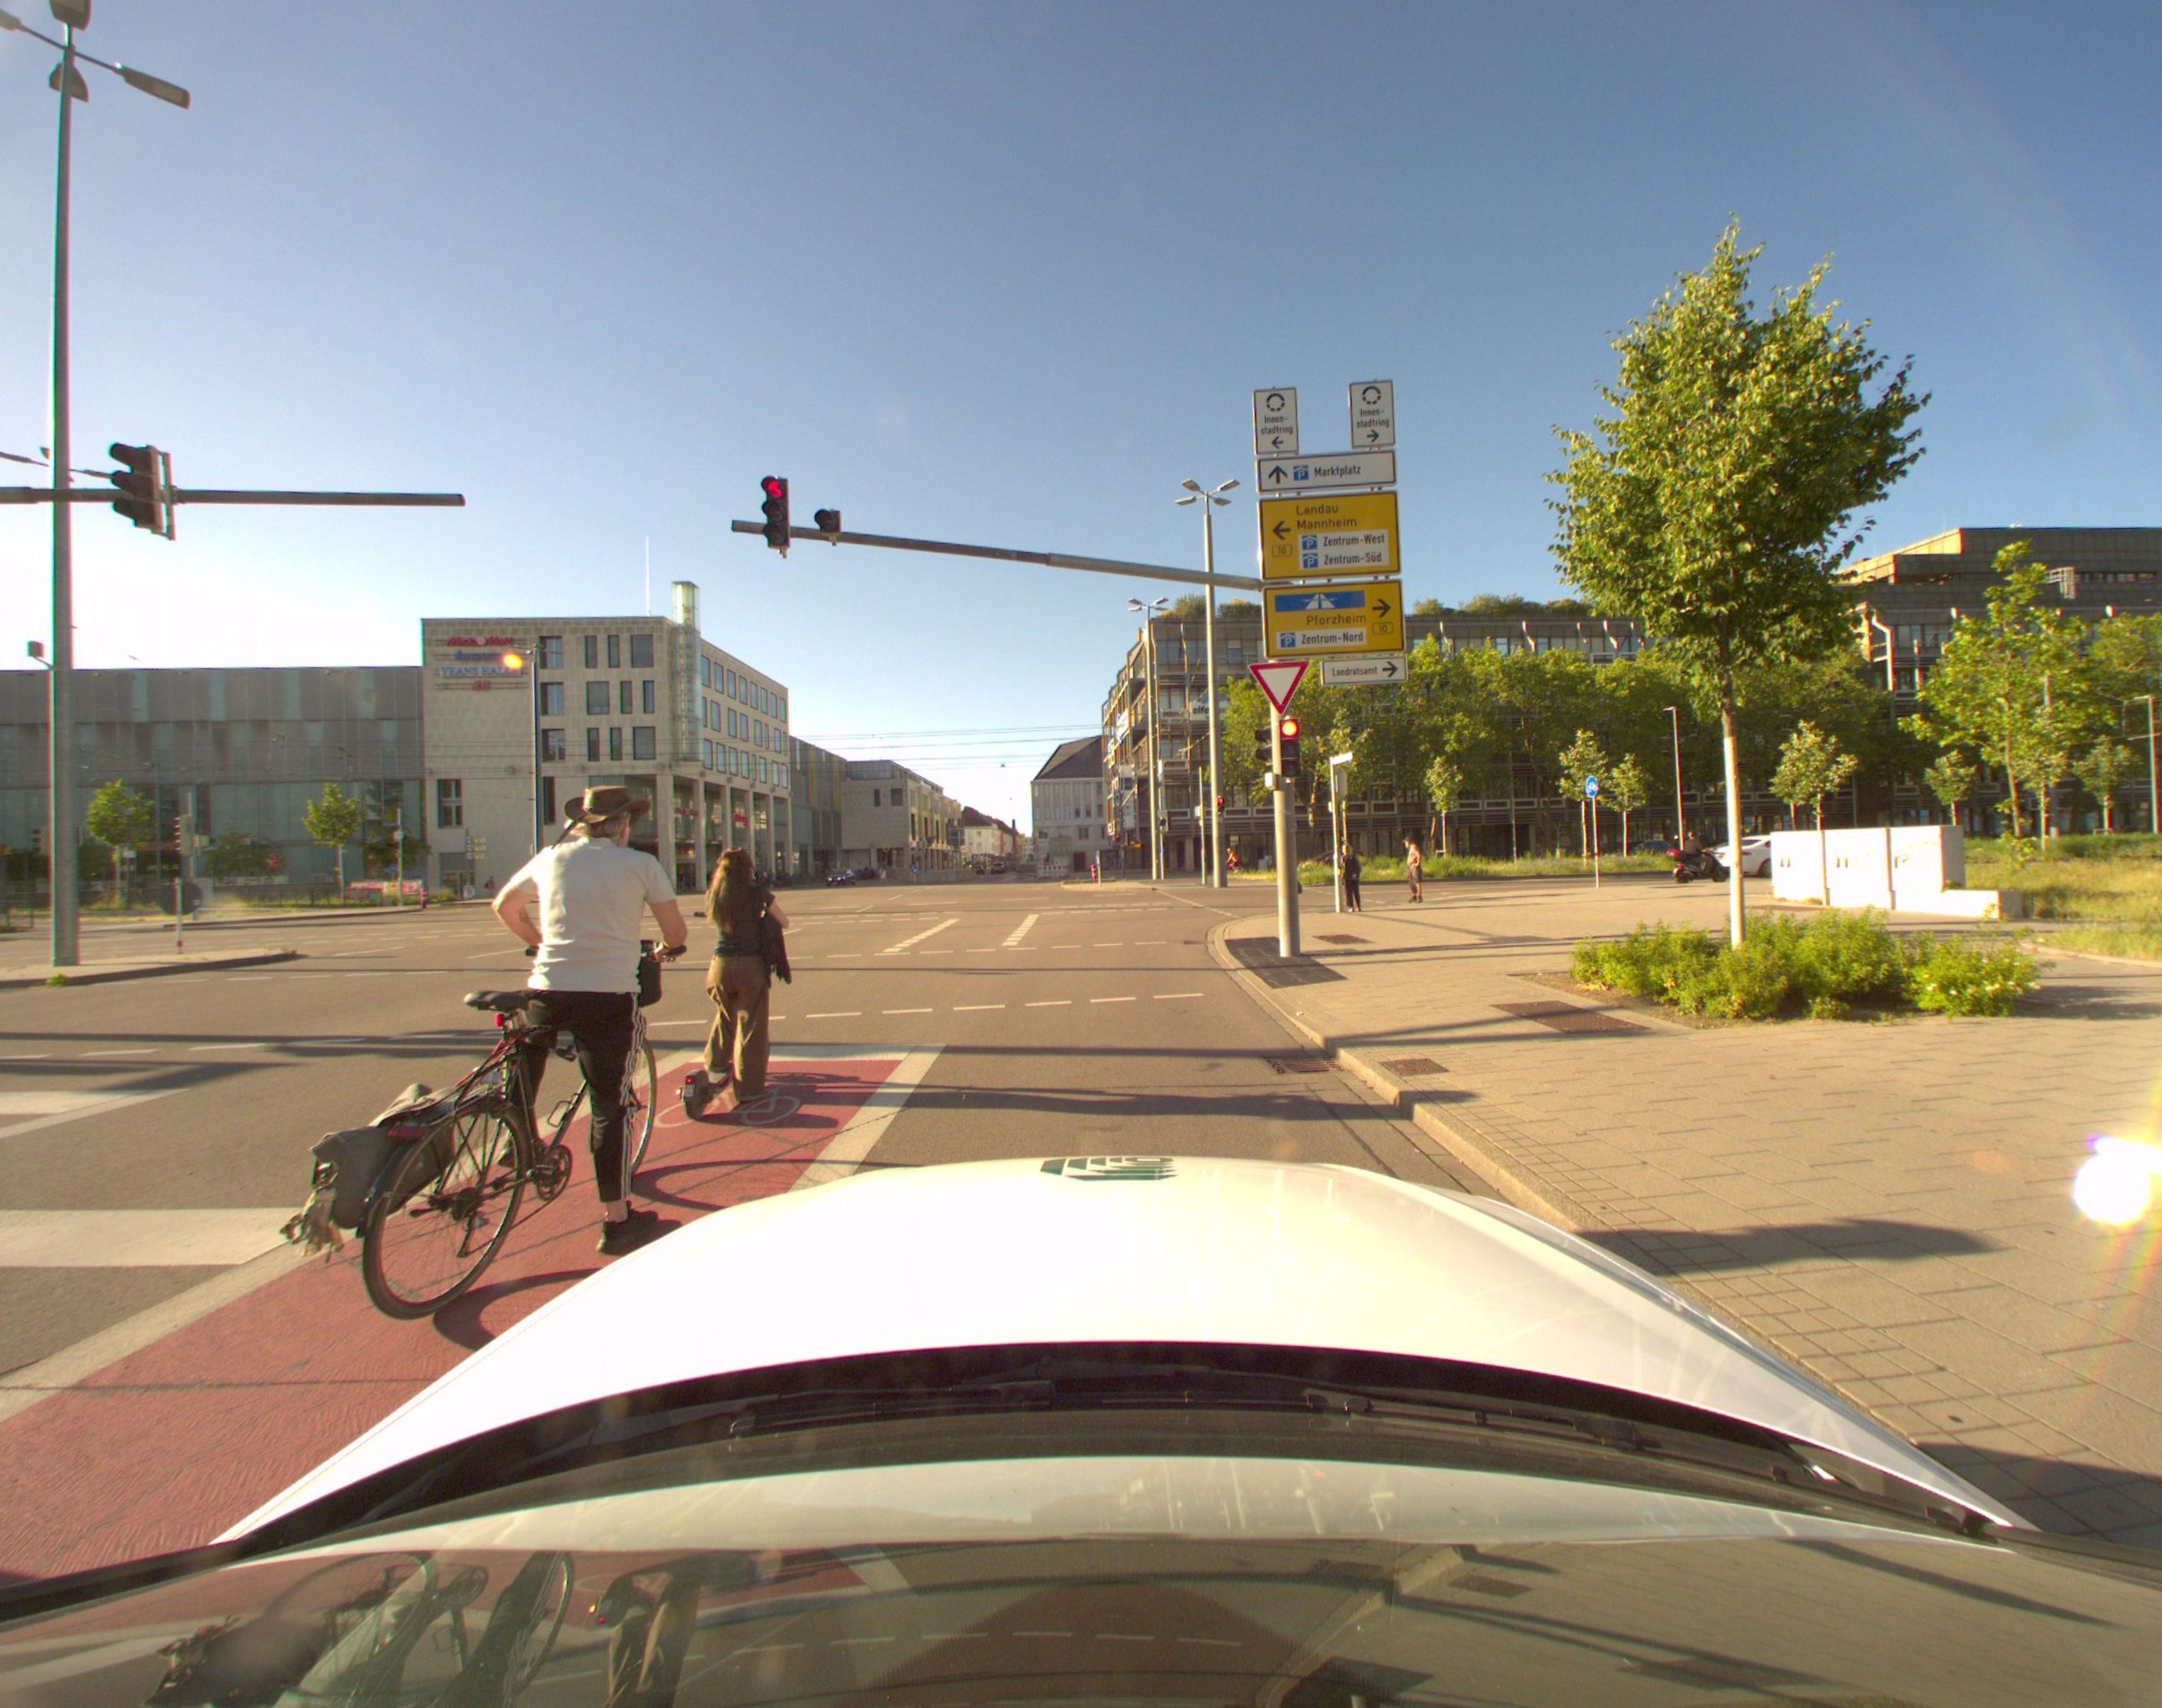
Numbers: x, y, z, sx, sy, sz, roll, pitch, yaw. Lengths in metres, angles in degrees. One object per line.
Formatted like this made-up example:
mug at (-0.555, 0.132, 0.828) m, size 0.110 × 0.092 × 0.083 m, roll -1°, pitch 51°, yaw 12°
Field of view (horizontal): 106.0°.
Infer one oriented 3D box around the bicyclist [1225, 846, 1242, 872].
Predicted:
bicyclist at (8.821, 0.308, 47.070) m, size 0.820 × 1.474 × 0.652 m, roll -2°, pitch 0°, yaw -2°

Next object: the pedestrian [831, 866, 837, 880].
pedestrian at (-30.818, 2.400, 101.667) m, size 0.465 × 1.729 × 0.632 m, roll -1°, pitch -1°, yaw 35°

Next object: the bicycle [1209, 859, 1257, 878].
bicycle at (8.765, 0.818, 47.056) m, size 2.561 × 0.975 × 1.047 m, roll -2°, pitch 0°, yaw -1°

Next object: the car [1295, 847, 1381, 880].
car at (14.567, 0.529, 46.218) m, size 4.287 × 1.684 × 1.820 m, roll -2°, pitch 0°, yaw -9°

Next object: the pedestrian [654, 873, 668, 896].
pedestrian at (-30.839, 2.248, 59.812) m, size 0.590 × 1.646 × 0.629 m, roll -2°, pitch 0°, yaw 1°

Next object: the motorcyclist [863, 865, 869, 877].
motorcyclist at (-26.166, 2.095, 99.150) m, size 0.627 × 1.406 × 0.661 m, roll 0°, pitch -1°, yaw -7°

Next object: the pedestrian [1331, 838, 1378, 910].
pedestrian at (6.365, 0.461, 19.004) m, size 0.763 × 1.614 × 0.874 m, roll -2°, pitch 0°, yaw 0°

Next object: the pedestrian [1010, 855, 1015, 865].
pedestrian at (-13.900, 1.190, 165.261) m, size 0.907 × 1.965 × 0.823 m, roll 0°, pitch -1°, yaw 1°

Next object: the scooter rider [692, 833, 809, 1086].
scooter rider at (-2.108, 0.645, 5.241) m, size 0.552 × 1.530 × 0.448 m, roll -2°, pitch 0°, yaw -7°

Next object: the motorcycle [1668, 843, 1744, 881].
motorcycle at (19.410, 0.246, 25.296) m, size 1.952 × 1.100 × 0.648 m, roll -2°, pitch 0°, yaw -6°

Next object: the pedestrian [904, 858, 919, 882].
pedestrian at (-13.145, 1.260, 63.284) m, size 0.935 × 1.864 × 0.541 m, roll -2°, pitch 0°, yaw 18°

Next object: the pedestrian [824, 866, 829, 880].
pedestrian at (-32.130, 2.419, 102.821) m, size 0.465 × 1.729 × 0.524 m, roll -1°, pitch -1°, yaw 40°

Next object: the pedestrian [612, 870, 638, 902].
pedestrian at (-25.121, 1.764, 44.910) m, size 0.821 × 1.675 × 1.004 m, roll -2°, pitch 0°, yaw -2°

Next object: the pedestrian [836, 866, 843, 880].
pedestrian at (-30.320, 2.401, 102.319) m, size 0.465 × 1.729 × 0.699 m, roll -1°, pitch -1°, yaw 40°

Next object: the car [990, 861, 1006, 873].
car at (-11.016, 1.750, 108.527) m, size 1.652 × 1.458 × 3.543 m, roll -2°, pitch 0°, yaw 2°

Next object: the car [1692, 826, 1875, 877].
car at (24.717, -0.098, 28.733) m, size 5.079 × 1.564 × 1.995 m, roll -2°, pitch 0°, yaw -8°

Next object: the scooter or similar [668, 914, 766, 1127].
scooter or similar at (-2.192, 0.957, 4.961) m, size 0.306 × 1.107 × 0.835 m, roll -2°, pitch 0°, yaw -9°

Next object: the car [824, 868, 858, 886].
car at (-20.723, 1.992, 70.480) m, size 1.670 × 1.357 × 4.021 m, roll -2°, pitch 0°, yaw 1°

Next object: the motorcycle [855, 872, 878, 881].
motorcycle at (-26.042, 2.729, 98.982) m, size 2.600 × 0.993 × 1.113 m, roll 0°, pitch -1°, yaw -8°

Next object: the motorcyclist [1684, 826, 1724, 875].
motorcyclist at (19.324, -0.101, 25.286) m, size 0.748 × 1.479 × 0.598 m, roll -2°, pitch 0°, yaw -6°

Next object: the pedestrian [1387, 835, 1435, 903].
pedestrian at (8.515, 0.385, 21.038) m, size 0.869 × 1.706 × 0.768 m, roll -2°, pitch 0°, yaw 0°

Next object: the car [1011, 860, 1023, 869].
car at (-11.475, 1.821, 146.349) m, size 1.652 × 1.458 × 3.543 m, roll -2°, pitch 0°, yaw 2°

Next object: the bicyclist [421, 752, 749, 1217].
bicyclist at (-2.018, 0.485, 3.451) m, size 0.802 × 1.700 × 0.852 m, roll -2°, pitch 0°, yaw 1°

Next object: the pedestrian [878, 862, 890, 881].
pedestrian at (-19.132, 1.680, 79.010) m, size 0.896 × 1.782 × 0.809 m, roll -2°, pitch 0°, yaw 1°

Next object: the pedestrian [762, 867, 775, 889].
pedestrian at (-24.968, 1.891, 65.066) m, size 0.697 × 1.688 × 0.620 m, roll -2°, pitch 0°, yaw 2°

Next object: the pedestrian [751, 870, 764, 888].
pedestrian at (-29.513, 2.271, 74.313) m, size 0.770 × 1.638 × 0.629 m, roll -2°, pitch 0°, yaw 23°

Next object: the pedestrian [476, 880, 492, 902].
pedestrian at (-42.969, 2.674, 58.617) m, size 0.589 × 1.541 × 0.630 m, roll -2°, pitch 0°, yaw 2°

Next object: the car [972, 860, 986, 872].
car at (-15.524, 1.836, 123.864) m, size 1.815 × 1.684 × 3.995 m, roll -2°, pitch 0°, yaw -3°

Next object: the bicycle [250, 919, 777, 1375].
bicycle at (-1.999, 0.925, 3.304) m, size 0.736 × 1.147 × 1.891 m, roll -2°, pitch 0°, yaw 2°
